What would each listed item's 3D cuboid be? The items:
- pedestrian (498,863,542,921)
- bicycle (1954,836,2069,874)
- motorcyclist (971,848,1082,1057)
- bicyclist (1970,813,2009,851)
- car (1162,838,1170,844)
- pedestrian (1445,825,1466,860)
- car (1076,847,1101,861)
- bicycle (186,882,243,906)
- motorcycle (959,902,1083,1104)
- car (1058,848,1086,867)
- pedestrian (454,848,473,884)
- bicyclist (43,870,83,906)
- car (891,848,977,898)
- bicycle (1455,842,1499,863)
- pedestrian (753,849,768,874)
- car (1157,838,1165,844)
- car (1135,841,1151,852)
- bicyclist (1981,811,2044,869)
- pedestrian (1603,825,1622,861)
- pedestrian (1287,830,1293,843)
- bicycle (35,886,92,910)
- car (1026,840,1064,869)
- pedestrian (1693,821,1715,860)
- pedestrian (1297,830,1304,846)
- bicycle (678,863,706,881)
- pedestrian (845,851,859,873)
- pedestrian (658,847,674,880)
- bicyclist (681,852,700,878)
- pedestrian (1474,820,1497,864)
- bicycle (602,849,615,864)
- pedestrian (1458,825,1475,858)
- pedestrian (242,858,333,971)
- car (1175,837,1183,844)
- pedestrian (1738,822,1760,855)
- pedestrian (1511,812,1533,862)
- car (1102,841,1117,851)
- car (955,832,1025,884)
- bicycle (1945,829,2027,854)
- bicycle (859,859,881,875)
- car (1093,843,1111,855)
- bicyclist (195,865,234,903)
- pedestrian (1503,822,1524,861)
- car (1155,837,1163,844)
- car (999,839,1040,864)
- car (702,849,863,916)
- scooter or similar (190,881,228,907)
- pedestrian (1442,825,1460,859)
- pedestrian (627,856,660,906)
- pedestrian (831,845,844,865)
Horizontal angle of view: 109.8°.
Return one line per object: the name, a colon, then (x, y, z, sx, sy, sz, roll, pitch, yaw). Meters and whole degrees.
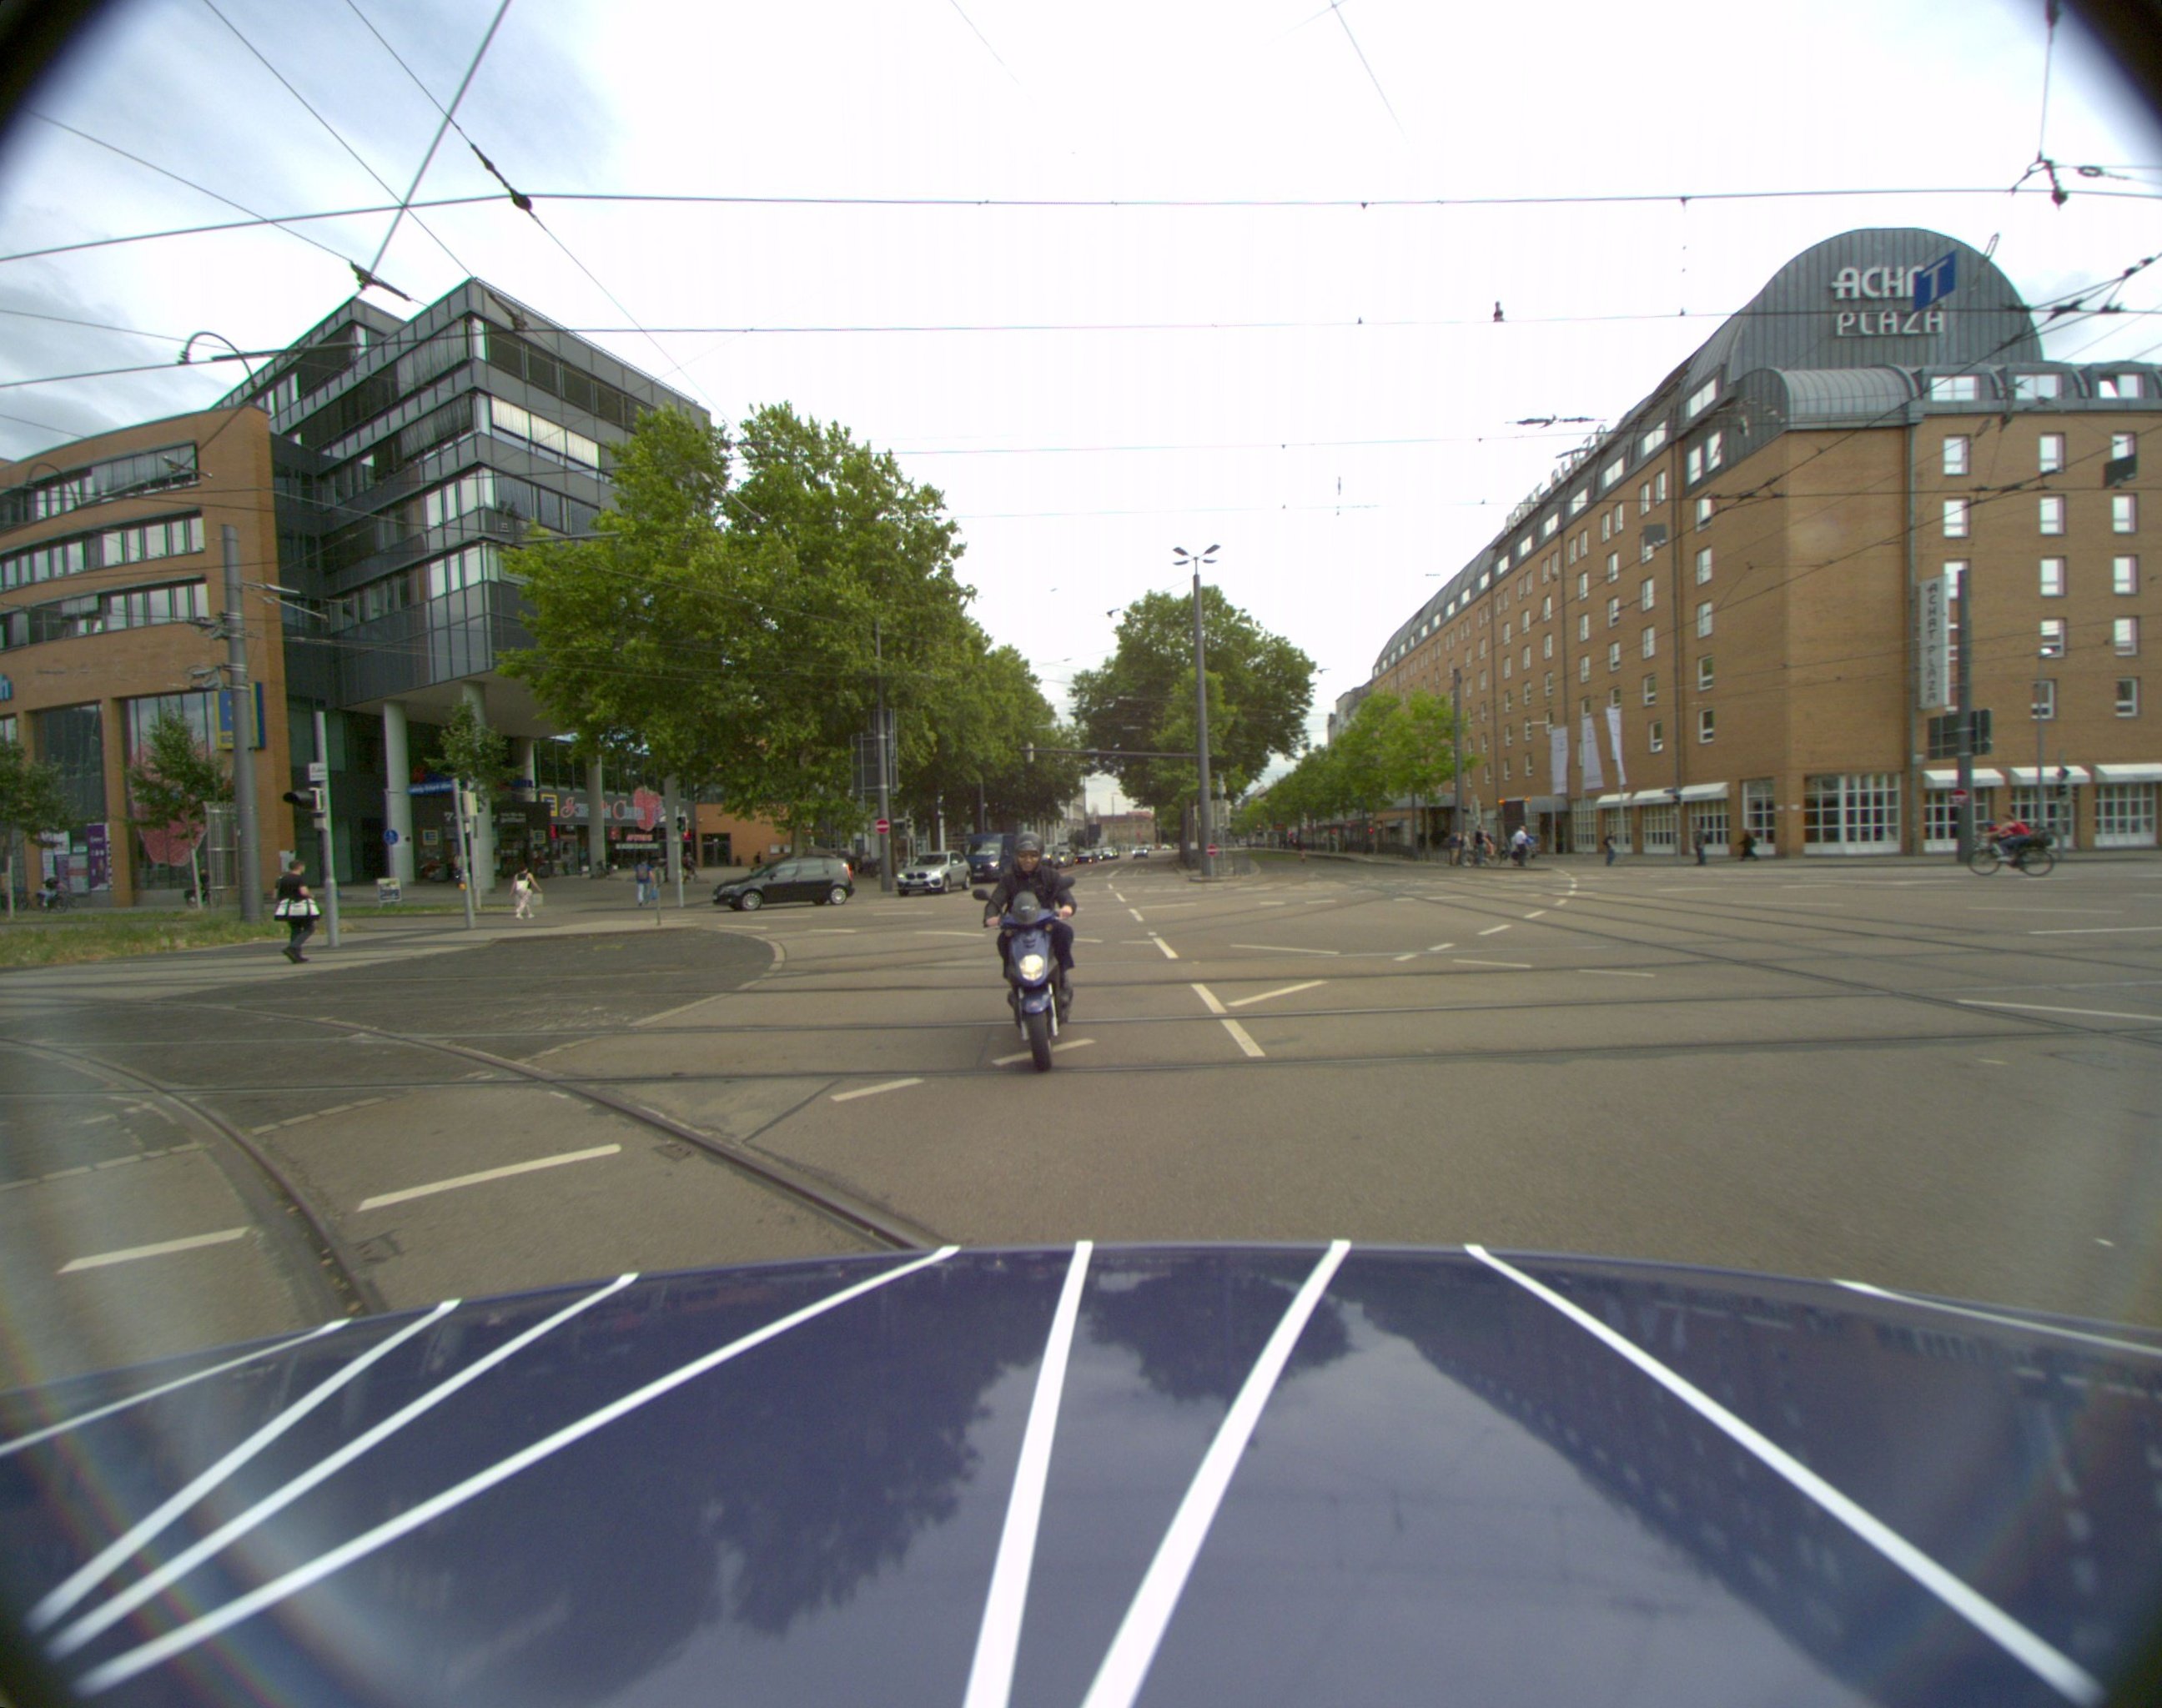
pedestrian: (-16.499, 1.099, 22.360, 0.587, 1.642, 0.744, -2, 2, 10)
bicycle: (24.596, 0.014, 20.145, 0.659, 0.931, 1.892, -2, 2, -3)
motorcyclist: (-0.407, 0.733, 6.150, 0.761, 1.511, 1.017, -2, 2, -1)
bicyclist: (36.980, -0.889, 30.939, 0.637, 1.493, 0.864, -3, 2, -25)
car: (23.186, -3.538, 206.375, 1.668, 1.699, 3.998, -2, 2, -1)
pedestrian: (18.087, -0.556, 36.684, 0.684, 1.696, 0.534, -2, 2, -7)
car: (0.788, -0.015, 77.360, 1.997, 1.270, 4.001, -2, 2, 8)
bicycle: (-38.262, 1.763, 33.555, 2.002, 1.005, 0.638, -2, 1, 8)
motorcycle: (-0.401, 1.051, 6.094, 0.769, 1.101, 2.207, -2, 2, 0)
car: (-0.782, 0.307, 66.382, 1.915, 1.534, 4.093, -2, 1, 6)
pedestrian: (-31.981, 0.616, 39.374, 0.627, 1.856, 0.671, -3, 2, -34)
bicyclist: (-47.238, 1.595, 35.276, 0.977, 1.607, 0.638, -1, 2, 8)
car: (-5.672, 0.675, 30.005, 1.963, 1.651, 4.639, -4, 1, 6)
bicycle: (18.151, -0.056, 34.826, 1.710, 0.884, 0.499, -2, 2, 4)
pedestrian: (-22.187, 0.501, 52.633, 0.586, 1.722, 0.745, 0, 3, 45)
car: (22.222, -3.599, 211.298, 1.668, 1.699, 3.998, -2, 2, -1)
car: (7.844, -0.950, 95.822, 1.845, 1.369, 3.835, -2, 0, 6)
bicyclist: (24.590, -0.374, 20.079, 0.651, 1.493, 0.817, -2, 2, -3)
pedestrian: (25.803, -0.532, 36.900, 0.563, 1.696, 0.535, -2, 2, 4)
pedestrian: (26.941, -2.248, 97.785, 0.648, 1.696, 0.624, -2, 2, 9)
bicycle: (-47.252, 2.025, 35.291, 2.002, 1.005, 0.638, -2, 2, 9)
car: (-2.651, 0.010, 57.527, 1.997, 2.002, 5.438, -2, 1, 6)
pedestrian: (27.934, -0.614, 34.088, 0.563, 1.696, 0.534, -2, 2, 1)
pedestrian: (24.385, -1.801, 84.311, 0.648, 1.696, 0.624, -2, 2, 6)
bicycle: (-22.259, 1.030, 43.554, 0.535, 0.912, 1.541, -2, 2, 12)
pedestrian: (-16.400, 0.550, 54.443, 0.587, 1.502, 0.683, -1, 3, 13)
pedestrian: (-24.039, 0.545, 44.052, 0.545, 1.856, 0.515, -1, 2, 29)
bicyclist: (-22.296, 0.610, 43.420, 0.531, 1.425, 0.739, -2, 2, 12)
pedestrian: (18.286, -0.550, 34.357, 0.693, 1.941, 0.534, -2, 2, -1)
bicycle: (-29.268, 0.133, 47.031, 0.537, 0.912, 1.560, -4, 2, -36)
pedestrian: (19.868, -0.658, 39.133, 0.564, 1.696, 0.534, -2, 2, -7)
pedestrian: (-13.072, 0.972, 12.541, 0.678, 1.781, 0.669, -2, 2, 3)
car: (26.598, -3.639, 205.770, 1.668, 1.699, 3.998, -2, 2, -1)
pedestrian: (30.463, -0.705, 34.663, 0.535, 1.498, 0.648, -3, 3, -33)
pedestrian: (18.887, -0.743, 32.537, 0.564, 2.118, 0.534, -2, 2, -7)
car: (3.731, -1.053, 98.721, 1.574, 1.270, 3.733, -2, 2, 8)
car: (-4.647, 0.098, 40.074, 2.174, 2.442, 6.998, -2, 1, 5)
bicycle: (36.949, -0.505, 31.041, 0.641, 1.002, 2.056, -2, 1, -25)
bicycle: (-13.026, 0.801, 47.032, 0.535, 0.912, 1.723, -2, 2, 12)
car: (2.548, -0.667, 91.388, 1.711, 1.270, 4.001, -2, 2, 8)
bicyclist: (-38.247, 1.333, 33.541, 0.977, 1.607, 0.638, -1, 2, 8)
pedestrian: (19.147, -0.549, 33.624, 0.564, 1.696, 0.578, -2, 2, -7)
car: (21.027, -3.636, 206.155, 1.668, 1.699, 3.998, -2, 2, -1)
car: (-3.865, -0.173, 48.107, 1.756, 1.410, 4.275, -1, 2, 6)
car: (-9.247, 0.825, 23.750, 4.187, 1.728, 1.959, -4, 2, -43)
scooter or similar: (-41.407, 1.896, 36.079, 1.472, 1.161, 0.486, -2, 2, 14)
pedestrian: (18.768, -0.599, 38.534, 0.564, 1.696, 0.534, -2, 2, -7)
pedestrian: (-15.592, 0.958, 27.095, 0.587, 1.722, 0.744, -2, 2, 10)
pedestrian: (-18.984, 0.105, 59.142, 0.586, 1.502, 0.683, -1, 3, 25)
